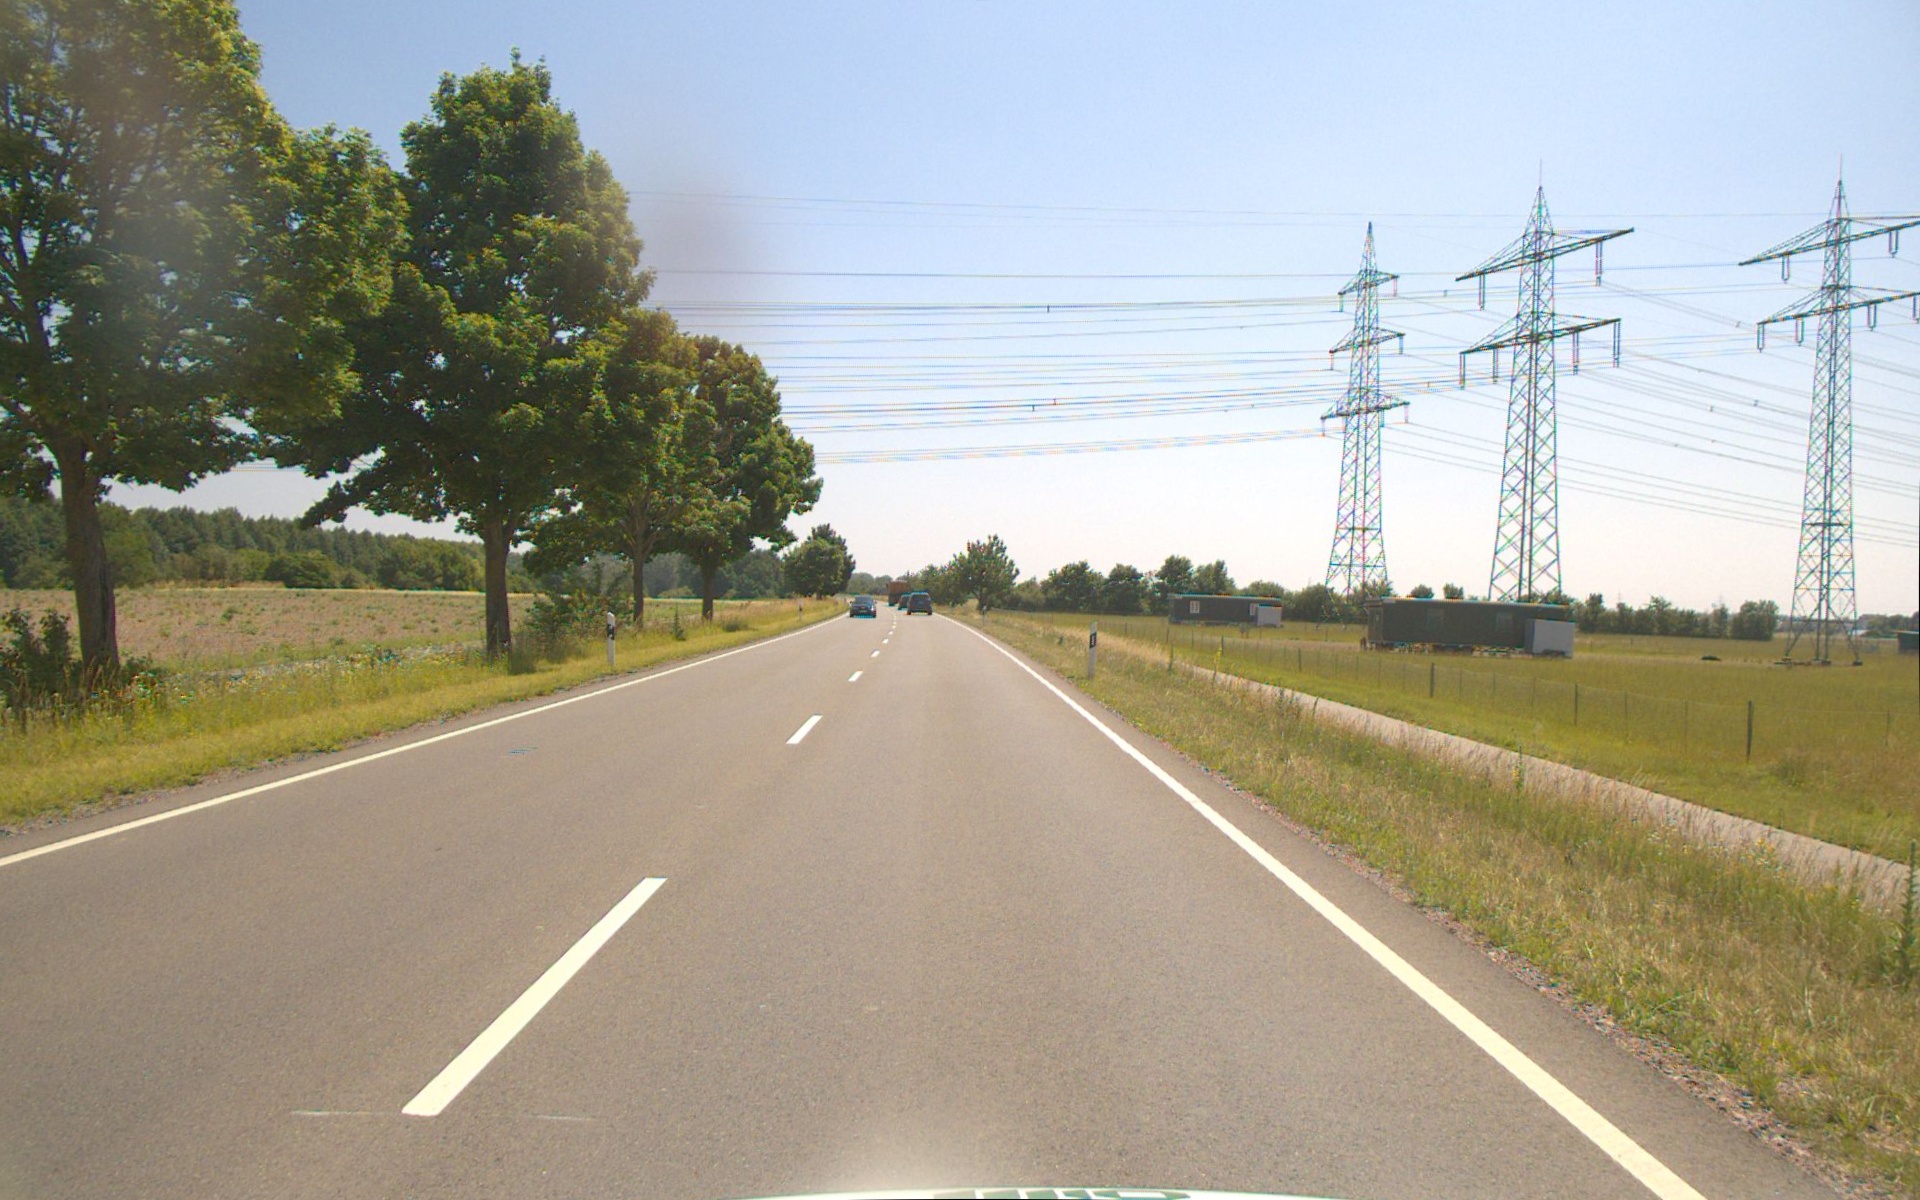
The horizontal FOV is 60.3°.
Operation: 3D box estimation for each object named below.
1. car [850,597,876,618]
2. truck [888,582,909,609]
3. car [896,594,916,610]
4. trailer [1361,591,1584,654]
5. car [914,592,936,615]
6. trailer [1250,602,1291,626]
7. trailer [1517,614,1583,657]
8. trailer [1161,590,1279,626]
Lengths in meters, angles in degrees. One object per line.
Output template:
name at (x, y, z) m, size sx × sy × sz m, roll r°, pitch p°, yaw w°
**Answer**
car at (-6.410, 0.506, 109.571) m, size 1.671 × 1.356 × 3.998 m, roll 1°, pitch 0°, yaw -3°
truck at (-7.817, -0.548, 209.727) m, size 2.324 × 3.195 × 8.739 m, roll 1°, pitch 0°, yaw -5°
car at (-5.340, 0.174, 163.783) m, size 1.814 × 1.549 × 3.997 m, roll 1°, pitch 0°, yaw -4°
trailer at (32.672, 1.406, 105.668) m, size 13.241 × 3.535 × 3.274 m, roll 2°, pitch 0°, yaw -4°
car at (-2.703, 0.276, 127.105) m, size 1.680 × 1.723 × 3.987 m, roll 1°, pitch 0°, yaw -2°
trailer at (33.804, 1.542, 180.065) m, size 3.911 × 2.485 × 1.997 m, roll 2°, pitch 0°, yaw -7°
trailer at (36.757, 2.204, 103.102) m, size 3.340 × 2.505 × 2.036 m, roll 2°, pitch 0°, yaw -3°
trailer at (28.690, 0.847, 182.800) m, size 12.168 × 3.533 × 3.802 m, roll 2°, pitch 0°, yaw -5°
